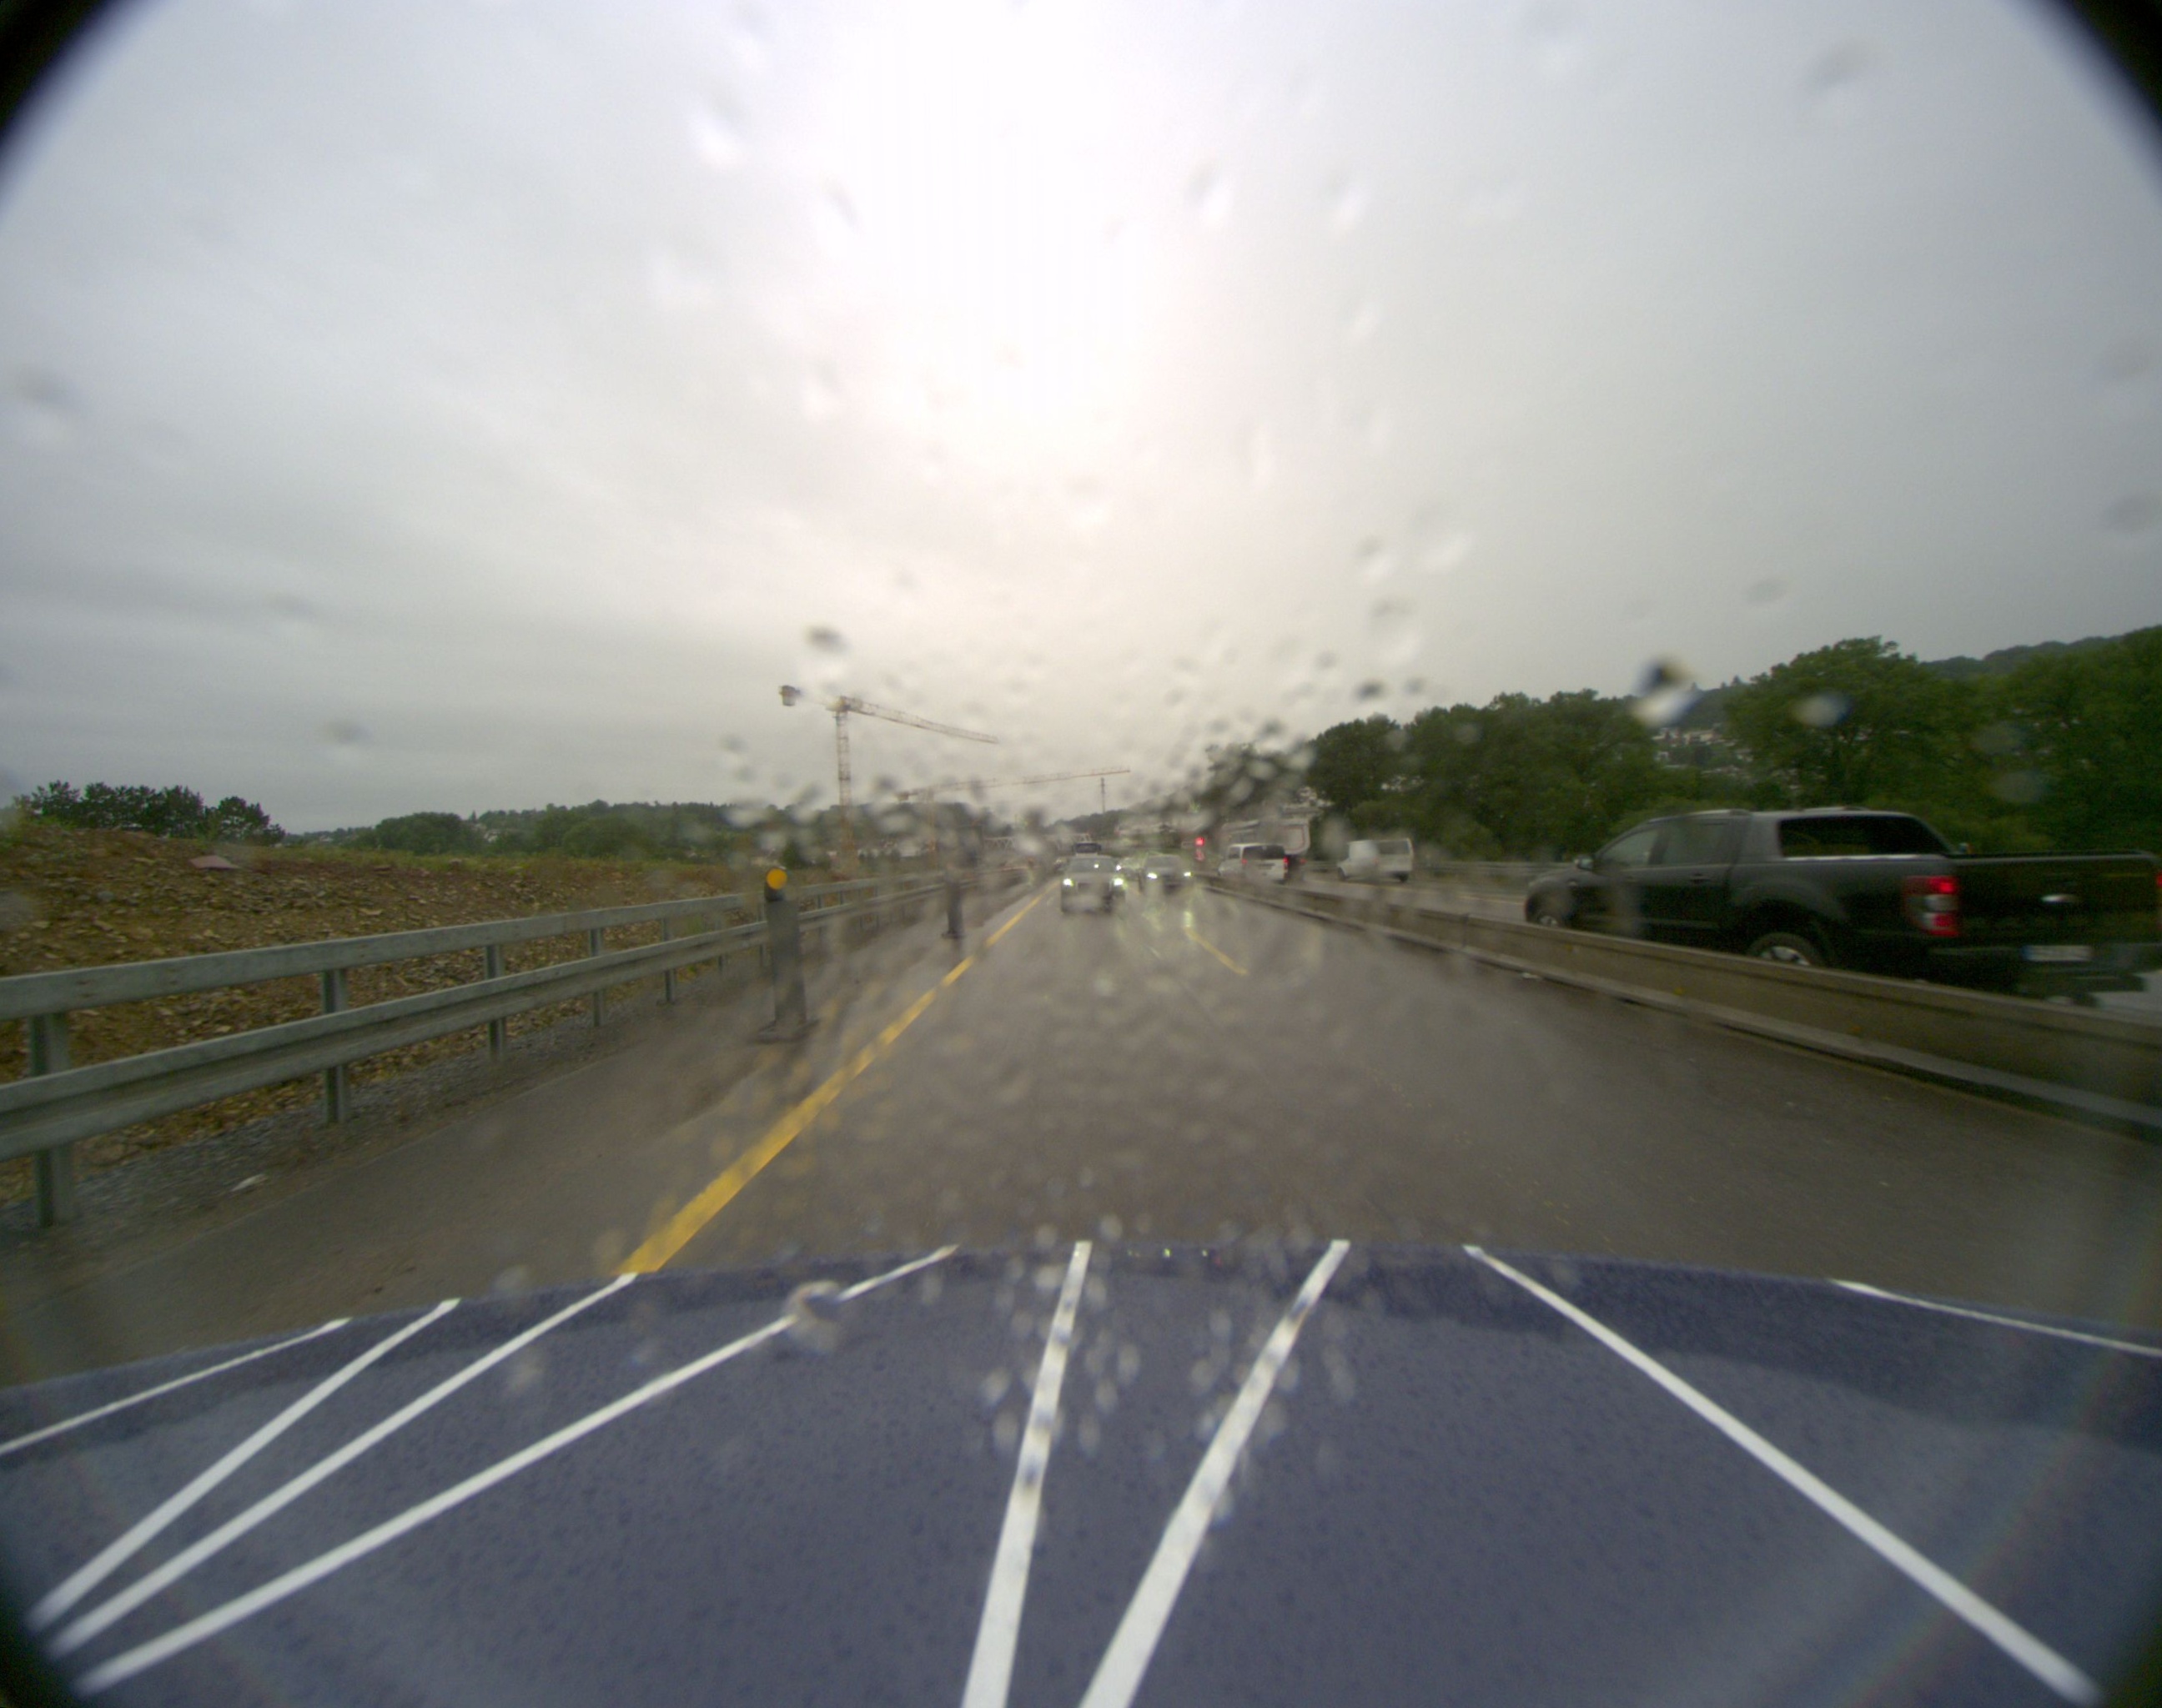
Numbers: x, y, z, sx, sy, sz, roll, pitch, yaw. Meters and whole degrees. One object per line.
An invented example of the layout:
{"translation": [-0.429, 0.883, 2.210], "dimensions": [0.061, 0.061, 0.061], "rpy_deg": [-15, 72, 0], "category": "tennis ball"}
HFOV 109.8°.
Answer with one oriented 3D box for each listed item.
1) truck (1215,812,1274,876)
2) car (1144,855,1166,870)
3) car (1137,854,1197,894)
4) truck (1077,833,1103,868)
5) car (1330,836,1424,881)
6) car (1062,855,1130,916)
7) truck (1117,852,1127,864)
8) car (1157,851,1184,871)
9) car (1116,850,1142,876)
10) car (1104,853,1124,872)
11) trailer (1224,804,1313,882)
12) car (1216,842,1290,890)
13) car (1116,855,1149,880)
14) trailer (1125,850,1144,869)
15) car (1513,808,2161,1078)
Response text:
{"translation": [10.473, -0.588, 49.155], "dimensions": [2.693, 3.904, 5.273], "rpy_deg": [0, 0, 0], "category": "truck"}
{"translation": [7.882, 0.894, 81.433], "dimensions": [1.998, 1.645, 4.470], "rpy_deg": [0, 0, 0], "category": "car"}
{"translation": [3.379, 0.761, 30.697], "dimensions": [1.951, 1.430, 4.483], "rpy_deg": [-1, 0, 1], "category": "car"}
{"translation": [0.948, -0.366, 80.938], "dimensions": [2.575, 3.450, 6.627], "rpy_deg": [-1, 0, 1], "category": "truck"}
{"translation": [14.459, 0.197, 37.474], "dimensions": [2.271, 2.002, 5.043], "rpy_deg": [-2, 0, -5], "category": "car"}
{"translation": [0.426, 0.846, 22.178], "dimensions": [1.781, 1.514, 4.140], "rpy_deg": [-1, 1, 1], "category": "car"}
{"translation": [11.968, 1.136, 222.050], "dimensions": [2.607, 3.605, 6.539], "rpy_deg": [-1, 0, 1], "category": "truck"}
{"translation": [7.158, 0.538, 61.151], "dimensions": [1.714, 1.445, 4.000], "rpy_deg": [-1, 0, 0], "category": "car"}
{"translation": [3.893, 0.727, 61.341], "dimensions": [1.998, 2.001, 4.002], "rpy_deg": [-1, -1, 4], "category": "car"}
{"translation": [3.786, 0.989, 86.921], "dimensions": [1.999, 2.001, 4.188], "rpy_deg": [-2, -2, 0], "category": "car"}
{"translation": [10.505, -0.566, 43.679], "dimensions": [2.693, 3.940, 9.819], "rpy_deg": [0, 0, 0], "category": "trailer"}
{"translation": [7.098, 0.454, 31.926], "dimensions": [1.879, 1.782, 5.359], "rpy_deg": [-1, 0, 0], "category": "car"}
{"translation": [3.134, 0.780, 47.367], "dimensions": [1.781, 1.430, 4.483], "rpy_deg": [-1, 0, 1], "category": "car"}
{"translation": [11.652, 1.243, 167.409], "dimensions": [3.285, 3.885, 13.701], "rpy_deg": [-1, -1, 1], "category": "trailer"}
{"translation": [6.723, 0.585, 7.657], "dimensions": [1.792, 1.795, 5.189], "rpy_deg": [0, 0, 0], "category": "car"}
